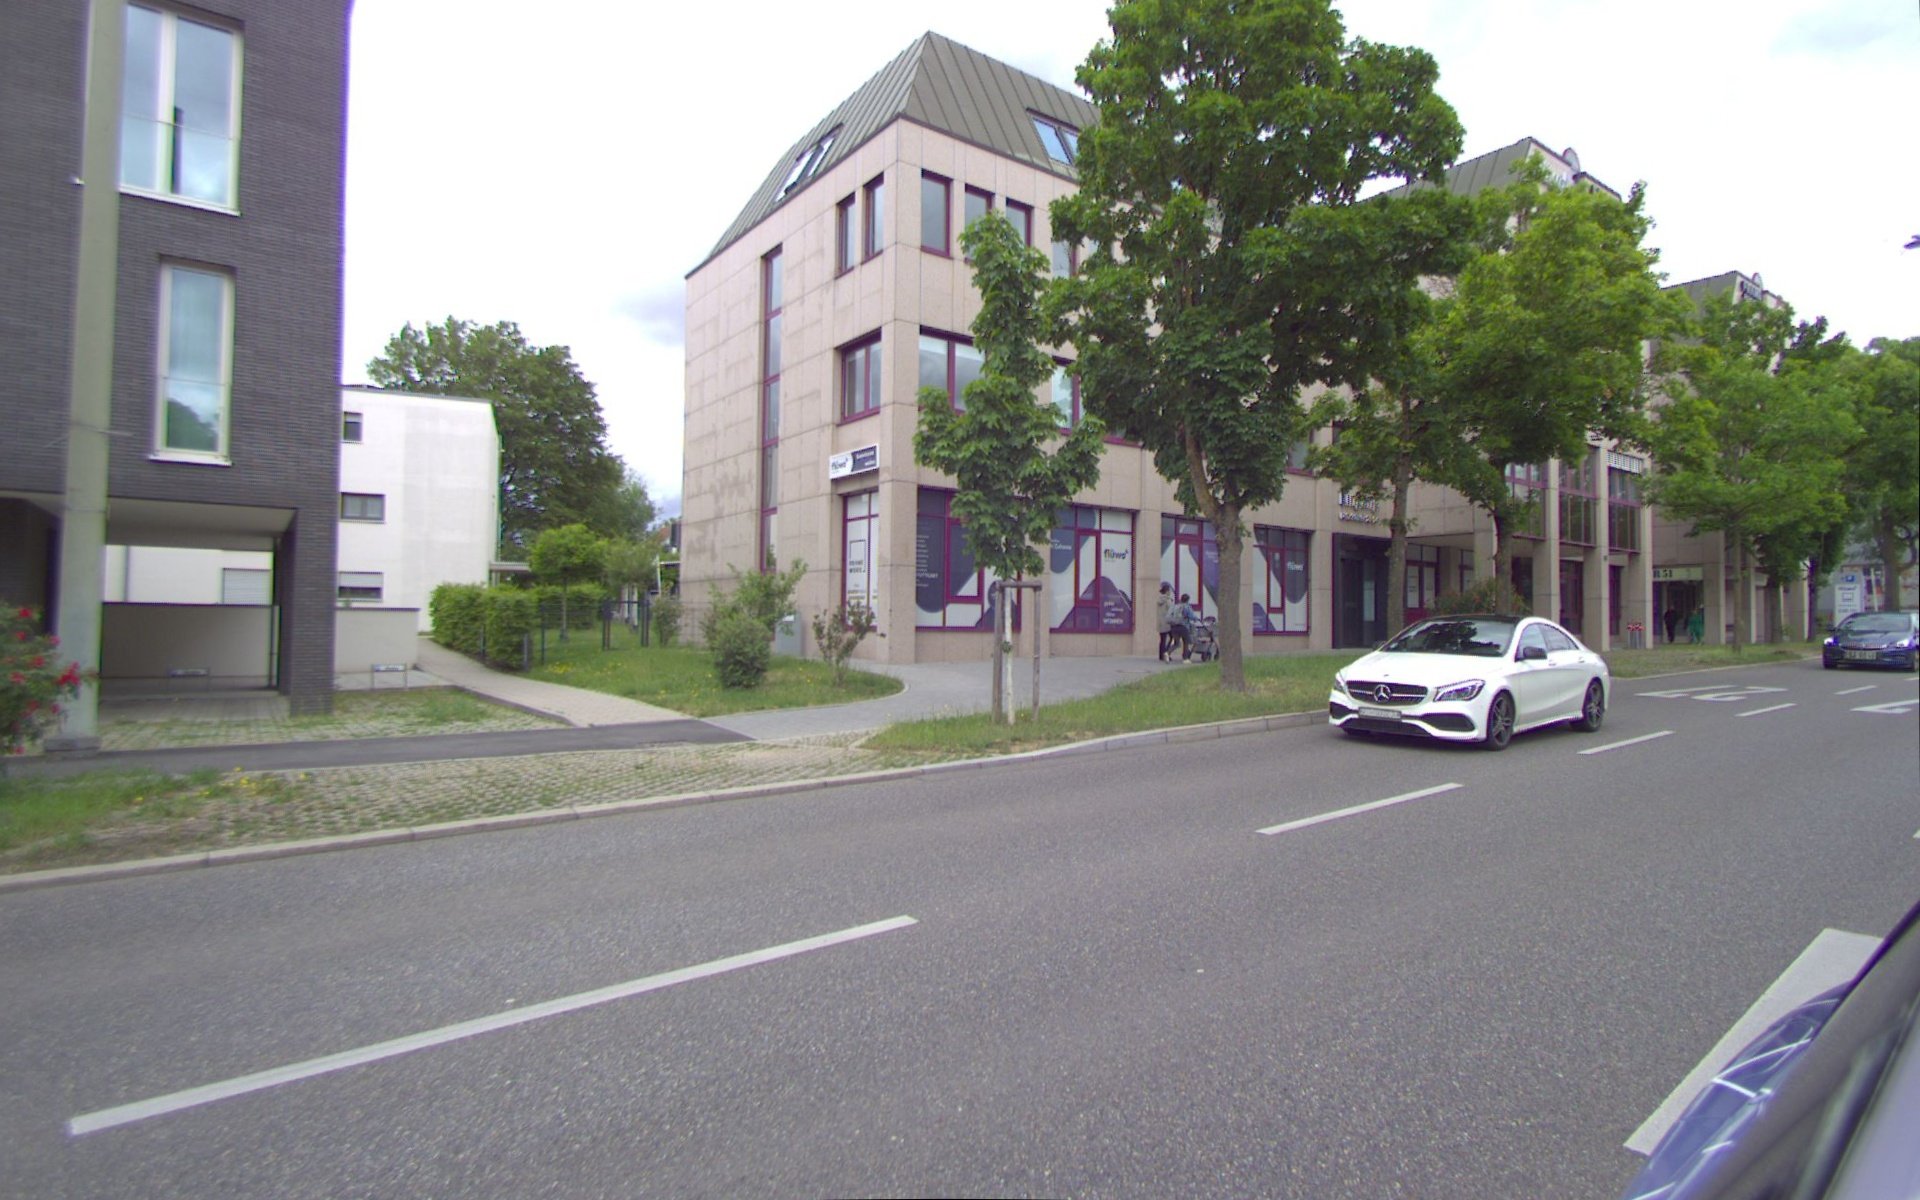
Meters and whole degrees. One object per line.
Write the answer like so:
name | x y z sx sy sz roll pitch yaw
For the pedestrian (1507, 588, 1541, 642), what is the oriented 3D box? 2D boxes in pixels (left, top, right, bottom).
pedestrian | 18.283 0.486 32.799 0.951 1.726 0.597 0 -1 -35

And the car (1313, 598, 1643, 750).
car | 6.351 0.737 12.177 4.614 1.491 1.798 0 0 -39

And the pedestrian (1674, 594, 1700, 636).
pedestrian | 30.828 0.625 42.933 0.827 1.712 0.659 0 1 -36

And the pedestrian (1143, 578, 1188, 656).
pedestrian | 4.606 0.368 22.695 0.814 1.721 0.569 0 -1 -36

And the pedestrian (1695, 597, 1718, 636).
pedestrian | 30.183 0.655 40.918 0.534 1.569 0.563 0 1 -36

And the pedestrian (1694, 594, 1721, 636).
pedestrian | 31.143 0.597 42.144 0.827 1.712 0.659 0 1 -36

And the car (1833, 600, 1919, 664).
car | 23.633 0.768 25.467 4.238 1.457 1.970 0 1 -42

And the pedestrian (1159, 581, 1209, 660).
pedestrian | 4.873 0.426 22.016 0.943 1.673 0.557 1 0 -35

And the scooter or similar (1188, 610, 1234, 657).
scooter or similar | 5.595 0.737 22.536 0.830 1.006 0.585 0 0 -35
